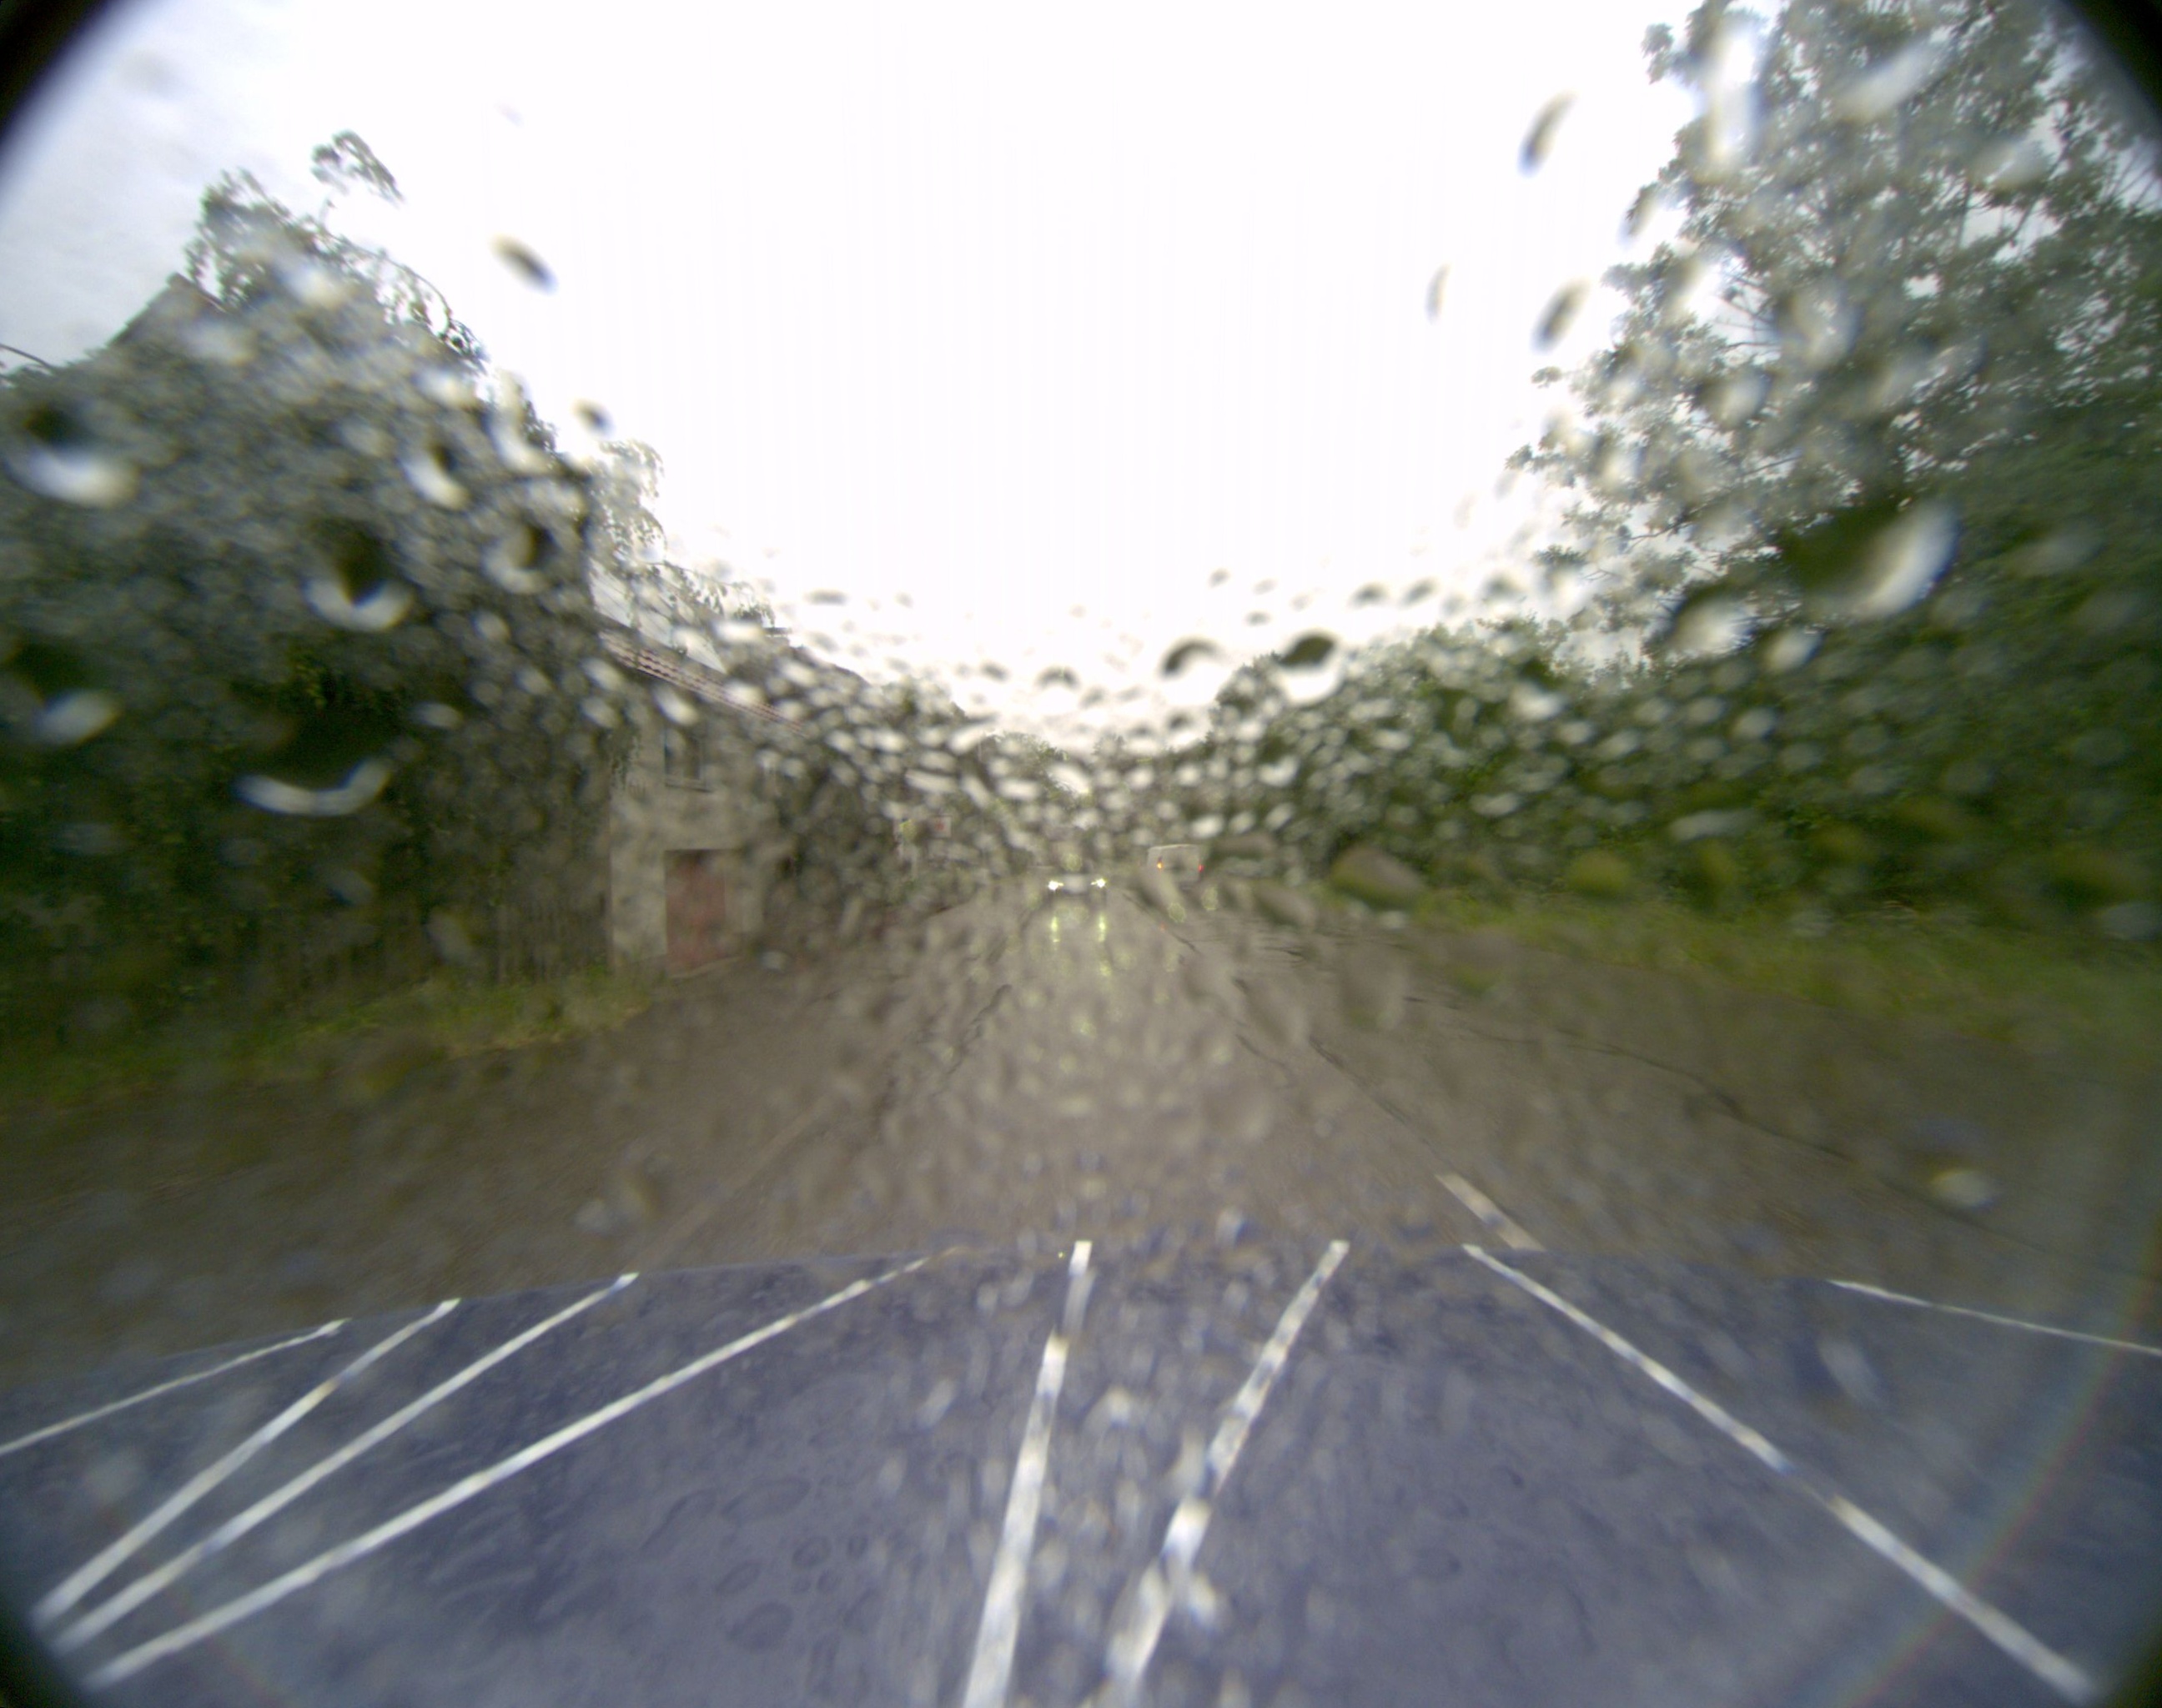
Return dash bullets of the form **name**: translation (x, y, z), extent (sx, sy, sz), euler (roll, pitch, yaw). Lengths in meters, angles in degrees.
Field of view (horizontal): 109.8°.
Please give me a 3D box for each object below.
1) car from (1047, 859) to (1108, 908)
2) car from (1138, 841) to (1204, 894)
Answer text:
- **car**: translation (-0.081, 0.889, 24.848), extent (1.767, 1.316, 4.548), euler (-3, 1, 1)
- **car**: translation (3.493, 0.485, 30.188), extent (1.837, 1.853, 3.952), euler (-3, 1, -4)
